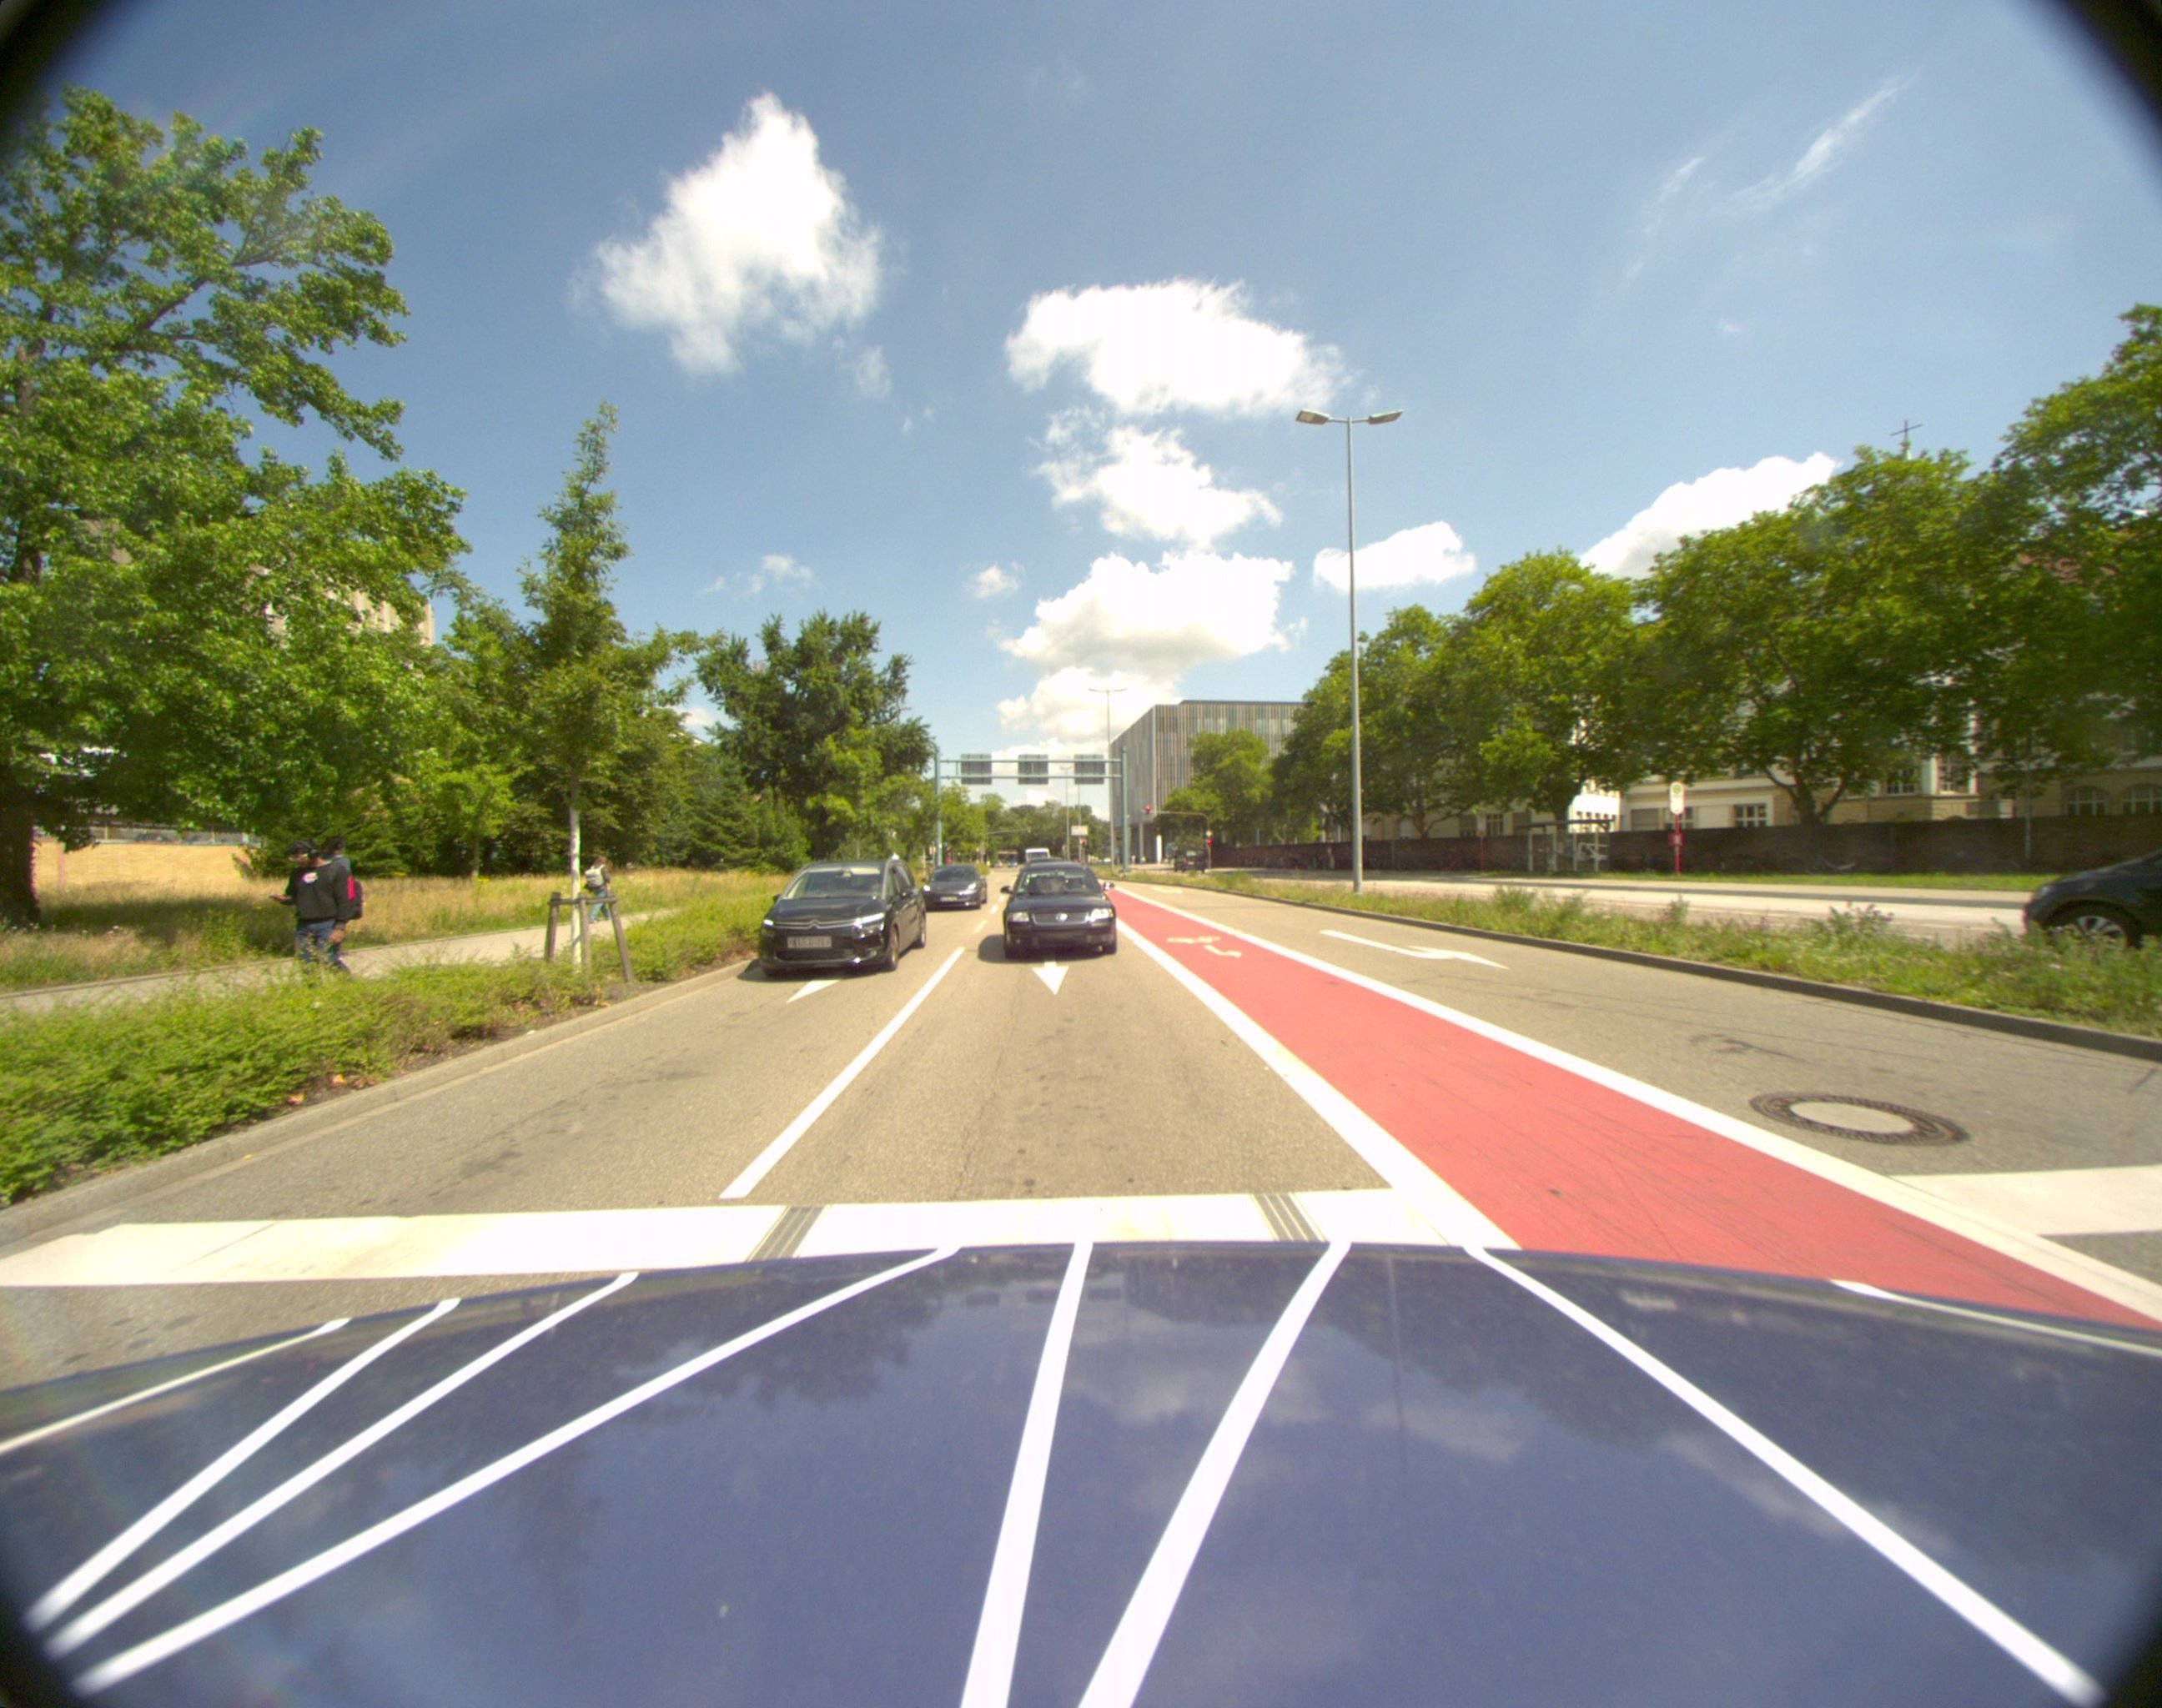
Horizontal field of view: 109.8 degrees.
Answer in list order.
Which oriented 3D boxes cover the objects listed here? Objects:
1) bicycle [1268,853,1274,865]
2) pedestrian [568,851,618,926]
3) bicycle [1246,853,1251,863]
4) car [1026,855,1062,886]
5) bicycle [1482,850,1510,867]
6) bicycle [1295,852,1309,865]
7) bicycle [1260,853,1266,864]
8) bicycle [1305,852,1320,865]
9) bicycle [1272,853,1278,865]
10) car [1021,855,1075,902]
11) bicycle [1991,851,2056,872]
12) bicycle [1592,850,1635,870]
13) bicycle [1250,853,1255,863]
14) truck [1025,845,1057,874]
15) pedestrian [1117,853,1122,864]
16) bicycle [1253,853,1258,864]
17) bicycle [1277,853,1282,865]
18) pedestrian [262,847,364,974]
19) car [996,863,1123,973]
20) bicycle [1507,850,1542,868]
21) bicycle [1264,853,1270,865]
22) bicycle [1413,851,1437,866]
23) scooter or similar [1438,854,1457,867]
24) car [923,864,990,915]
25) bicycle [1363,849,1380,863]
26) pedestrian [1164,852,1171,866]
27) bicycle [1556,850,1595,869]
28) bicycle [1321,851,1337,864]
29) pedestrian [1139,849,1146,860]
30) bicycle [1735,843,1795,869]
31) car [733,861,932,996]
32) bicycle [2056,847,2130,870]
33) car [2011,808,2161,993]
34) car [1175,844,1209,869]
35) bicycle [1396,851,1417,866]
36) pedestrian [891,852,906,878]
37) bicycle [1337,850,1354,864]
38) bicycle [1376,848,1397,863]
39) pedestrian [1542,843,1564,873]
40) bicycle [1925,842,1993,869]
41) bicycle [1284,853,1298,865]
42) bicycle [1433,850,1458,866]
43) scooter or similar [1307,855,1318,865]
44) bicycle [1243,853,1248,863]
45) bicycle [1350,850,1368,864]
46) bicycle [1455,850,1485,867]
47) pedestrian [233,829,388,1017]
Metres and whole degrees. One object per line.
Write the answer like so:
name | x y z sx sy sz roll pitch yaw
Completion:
bicycle | 18.017 0.424 72.067 0.382 1.101 1.672 -1 1 17
pedestrian | -11.533 0.802 17.977 0.668 1.739 0.877 0 0 -4
bicycle | 16.983 0.409 76.975 0.329 1.012 1.672 -1 1 17
car | -1.989 0.825 40.881 1.752 1.496 4.519 -3 0 -3
bicycle | 25.676 0.282 47.049 0.398 1.037 1.636 -1 1 -23
bicycle | 19.413 0.420 66.751 0.383 1.101 1.668 -1 1 -15
bicycle | 17.553 0.423 73.288 0.382 1.101 1.672 -1 1 17
bicycle | 19.860 0.386 65.110 0.383 1.101 1.668 -1 1 -16
bicycle | 18.187 0.428 71.217 0.382 1.101 1.672 -1 1 17
car | -1.282 0.850 28.049 1.752 1.496 4.518 -3 0 -5
bicycle | 34.988 0.274 28.229 0.398 0.784 1.463 -2 1 -31
bicycle | 28.351 0.315 40.516 0.398 1.037 1.954 -1 1 -23
bicycle | 17.188 0.418 76.061 0.329 1.012 1.672 -1 1 17
truck | -3.502 0.445 65.444 2.463 2.287 5.813 -3 0 -5
pedestrian | 6.819 0.799 135.131 0.715 1.906 0.807 -3 2 -10
bicycle | 17.350 0.429 75.358 0.329 1.012 1.672 -1 1 17
bicycle | 18.383 0.433 70.474 0.382 1.101 1.672 -1 1 17
pedestrian | -10.843 0.781 10.751 0.751 1.739 0.667 0 0 -4
car | -0.436 0.943 13.184 1.752 1.426 4.519 -3 0 -3
bicycle | 26.425 0.275 45.300 0.398 1.037 1.954 -1 1 -23
bicycle | 17.847 0.444 72.872 0.382 1.101 1.672 -1 1 17
bicycle | 23.685 0.325 52.334 0.398 0.998 1.759 -1 0 -18
scooter or similar | 23.942 0.423 49.647 0.354 0.789 1.067 -2 1 -29
car | -4.044 1.092 25.200 1.766 1.409 4.361 -3 0 -5
bicycle | 21.972 0.165 57.464 0.378 1.037 1.414 -1 1 -18
pedestrian | 12.161 0.653 106.807 0.715 1.906 0.807 -3 2 -10
bicycle | 27.564 0.324 42.389 0.398 1.037 1.954 -1 1 -23
bicycle | 20.398 0.297 62.476 0.383 1.037 1.668 -1 1 -16
pedestrian | 10.485 0.071 129.728 0.826 1.906 0.807 -3 2 -10
bicycle | 31.319 0.102 34.822 0.398 1.130 2.034 -2 1 -28
car | -3.612 0.970 11.965 1.863 1.613 4.518 -2 0 -4
bicycle | 35.852 0.161 26.939 0.398 0.784 1.540 -2 1 -31
car | 10.364 0.372 5.597 1.886 1.614 4.155 -2 0 -1
car | 9.970 0.204 68.483 2.215 2.158 4.519 0 0 -3
bicycle | 23.139 0.298 53.981 0.398 1.037 1.581 -1 1 -18
pedestrian | -13.086 0.777 54.434 0.845 1.755 0.841 -3 1 -4
bicycle | 21.061 0.240 60.599 0.383 1.037 1.668 -1 1 -16
bicycle | 22.479 0.121 55.915 0.398 1.037 1.759 -1 1 -18
pedestrian | 25.951 0.208 41.768 0.724 1.602 0.779 -2 1 -33
bicycle | 34.173 0.044 29.605 0.398 1.024 1.683 -2 1 -31
bicycle | 18.990 0.448 68.737 0.383 1.101 1.668 -1 1 -13
bicycle | 24.272 0.287 50.610 0.398 1.037 1.759 -1 1 -20
scooter or similar | 19.465 0.499 63.844 0.353 0.838 1.068 -1 1 -17
bicycle | 16.793 0.404 77.693 0.329 1.012 1.672 -1 1 17
bicycle | 21.530 0.253 58.966 0.383 1.037 1.668 -1 1 -16
bicycle | 24.944 0.273 48.779 0.398 1.037 1.954 -1 1 -21
pedestrian | -7.518 0.641 7.459 0.668 1.739 0.847 0 0 -4
